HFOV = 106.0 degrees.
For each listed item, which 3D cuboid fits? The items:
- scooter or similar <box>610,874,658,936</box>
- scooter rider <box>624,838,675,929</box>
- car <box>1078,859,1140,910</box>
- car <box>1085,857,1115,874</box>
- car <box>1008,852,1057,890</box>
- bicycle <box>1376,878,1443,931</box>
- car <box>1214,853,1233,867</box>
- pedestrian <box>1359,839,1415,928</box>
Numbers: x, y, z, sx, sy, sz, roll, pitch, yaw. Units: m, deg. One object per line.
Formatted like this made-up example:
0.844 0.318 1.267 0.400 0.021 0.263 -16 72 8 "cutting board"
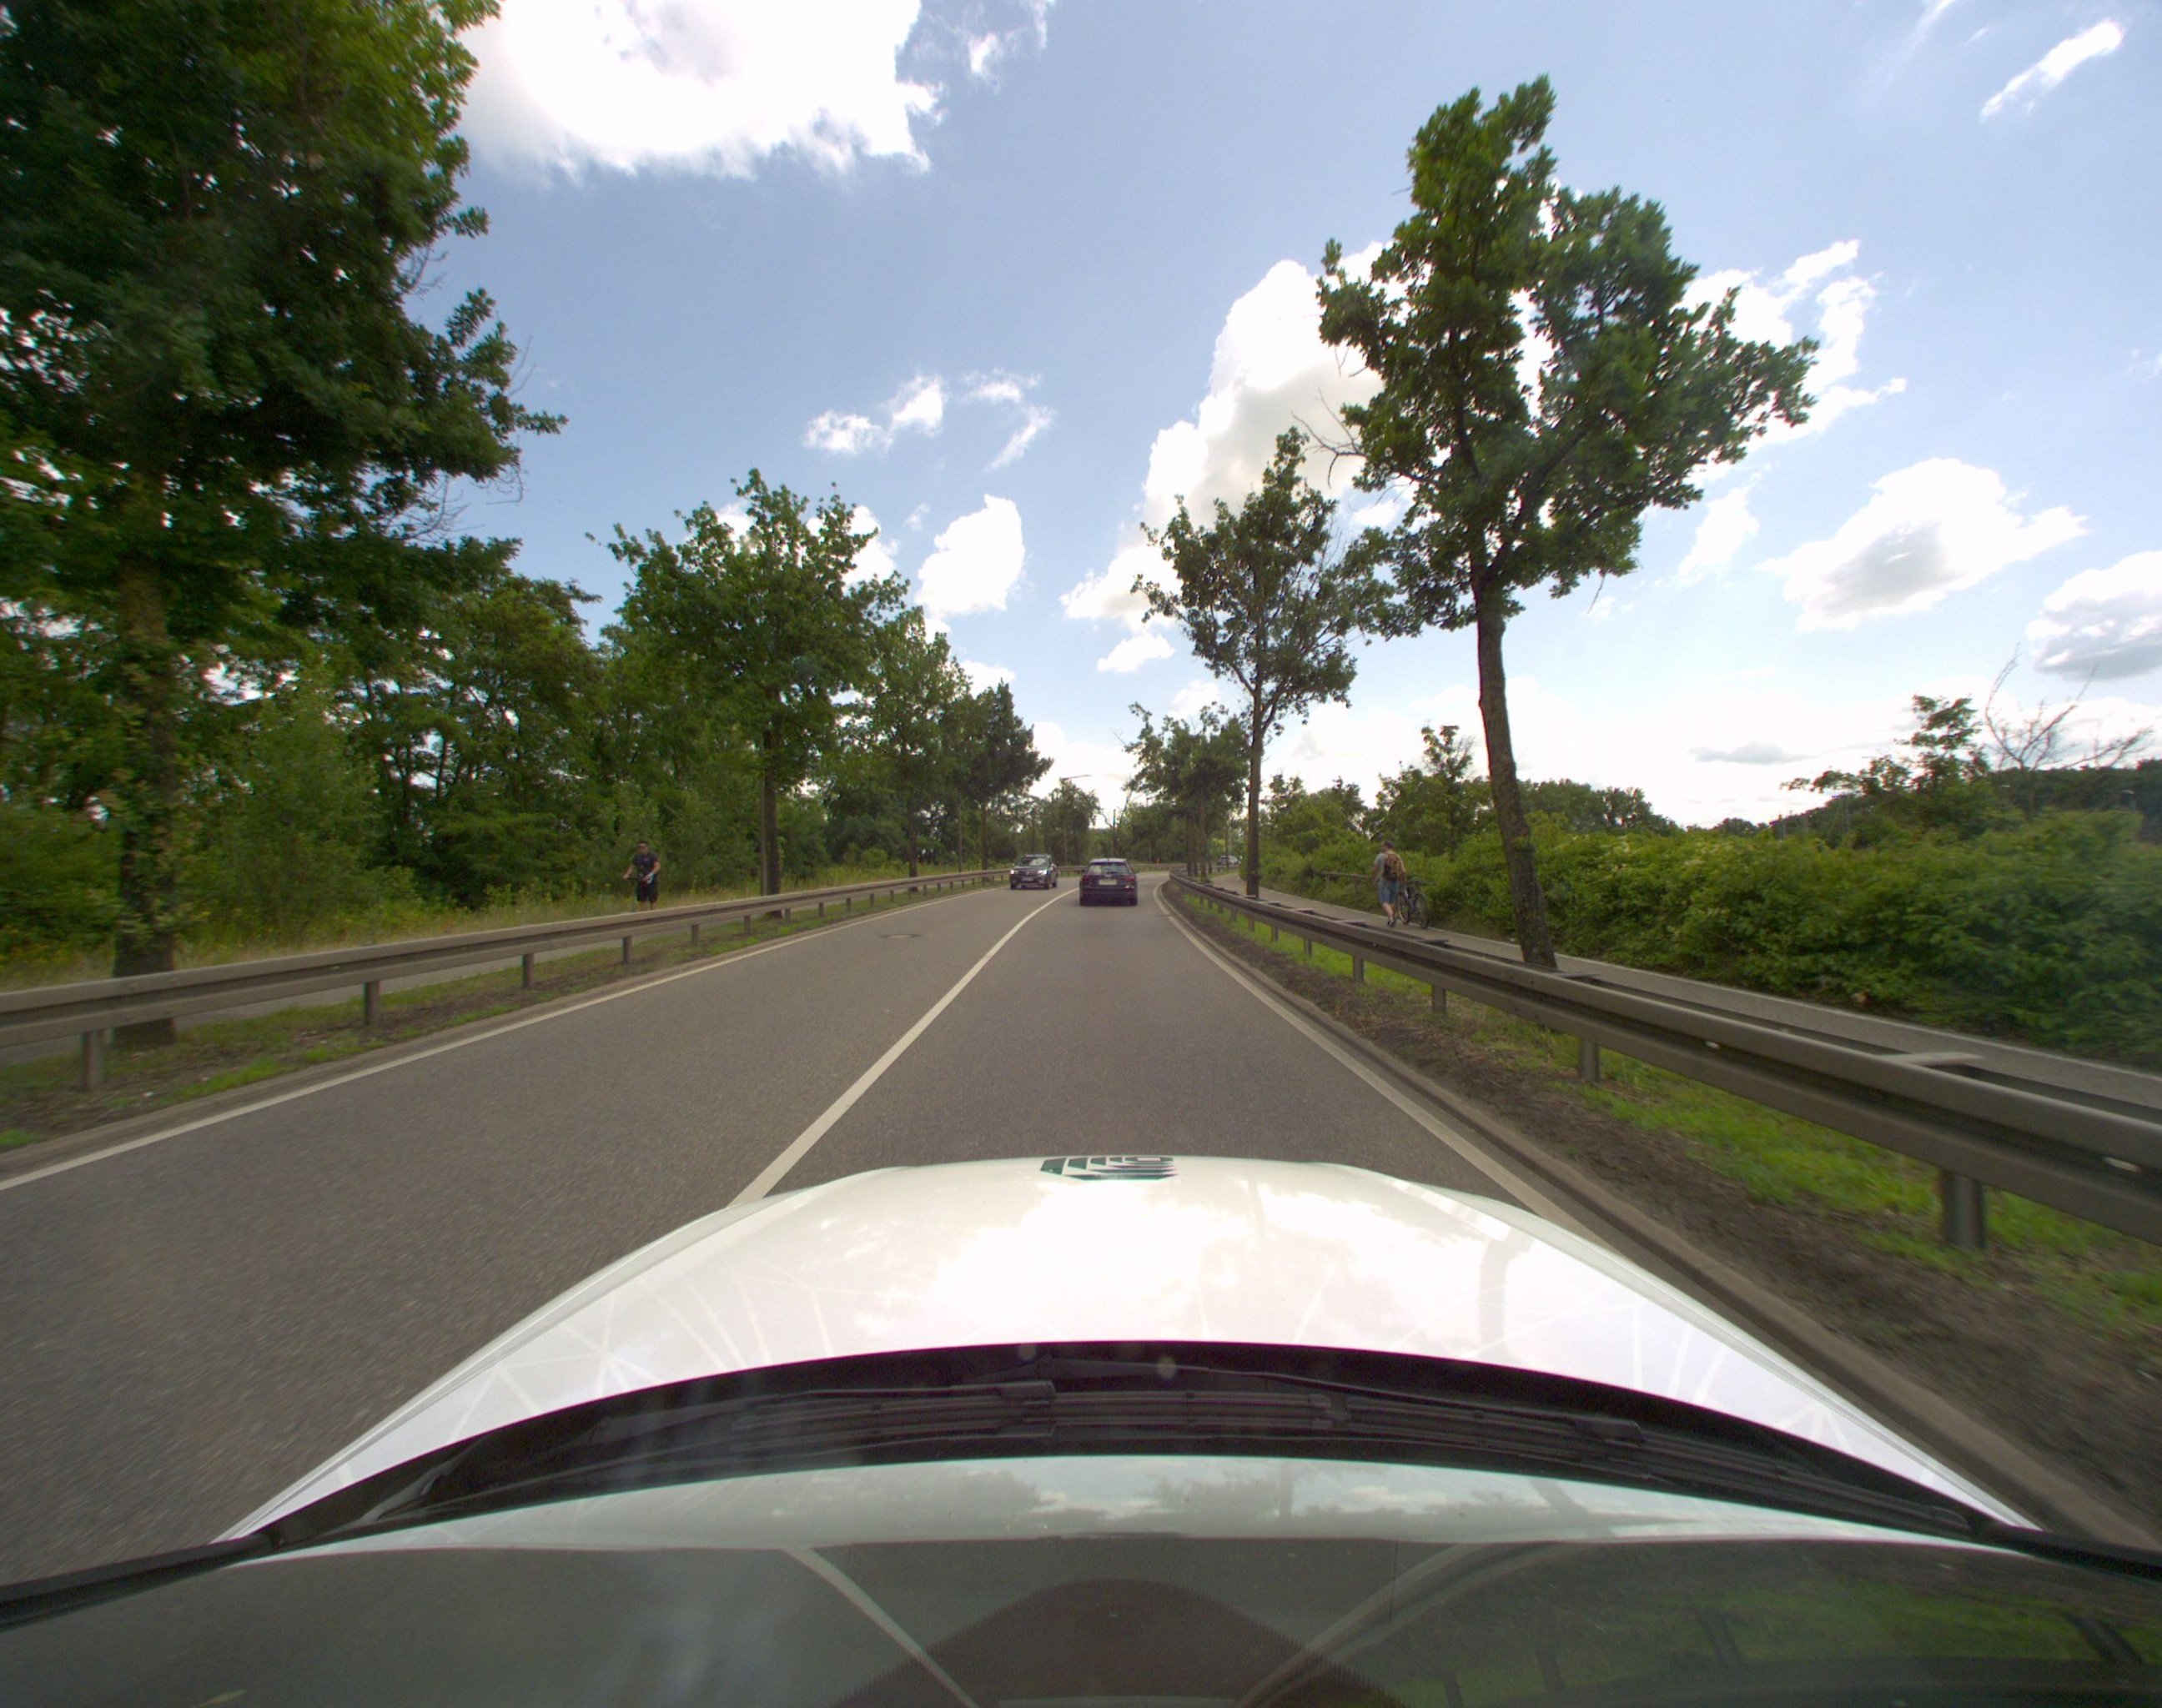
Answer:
-9.234 1.046 16.845 0.633 1.207 0.559 -3 0 -1 "scooter or similar"
-9.066 0.618 17.127 0.659 1.856 0.619 -3 -1 0 "scooter rider"
0.952 0.907 26.228 1.820 1.491 4.210 0 0 3 "car"
1.447 0.868 61.195 1.582 1.218 3.803 1 0 12 "car"
-2.158 0.736 37.233 1.773 1.607 4.162 0 0 3 "car"
6.246 0.934 15.585 0.554 0.869 1.826 -3 0 2 "bicycle"
15.785 0.667 90.090 1.566 1.520 4.018 -2 0 17 "car"
5.930 0.551 15.836 0.654 1.642 1.055 -2 -1 1 "pedestrian"
